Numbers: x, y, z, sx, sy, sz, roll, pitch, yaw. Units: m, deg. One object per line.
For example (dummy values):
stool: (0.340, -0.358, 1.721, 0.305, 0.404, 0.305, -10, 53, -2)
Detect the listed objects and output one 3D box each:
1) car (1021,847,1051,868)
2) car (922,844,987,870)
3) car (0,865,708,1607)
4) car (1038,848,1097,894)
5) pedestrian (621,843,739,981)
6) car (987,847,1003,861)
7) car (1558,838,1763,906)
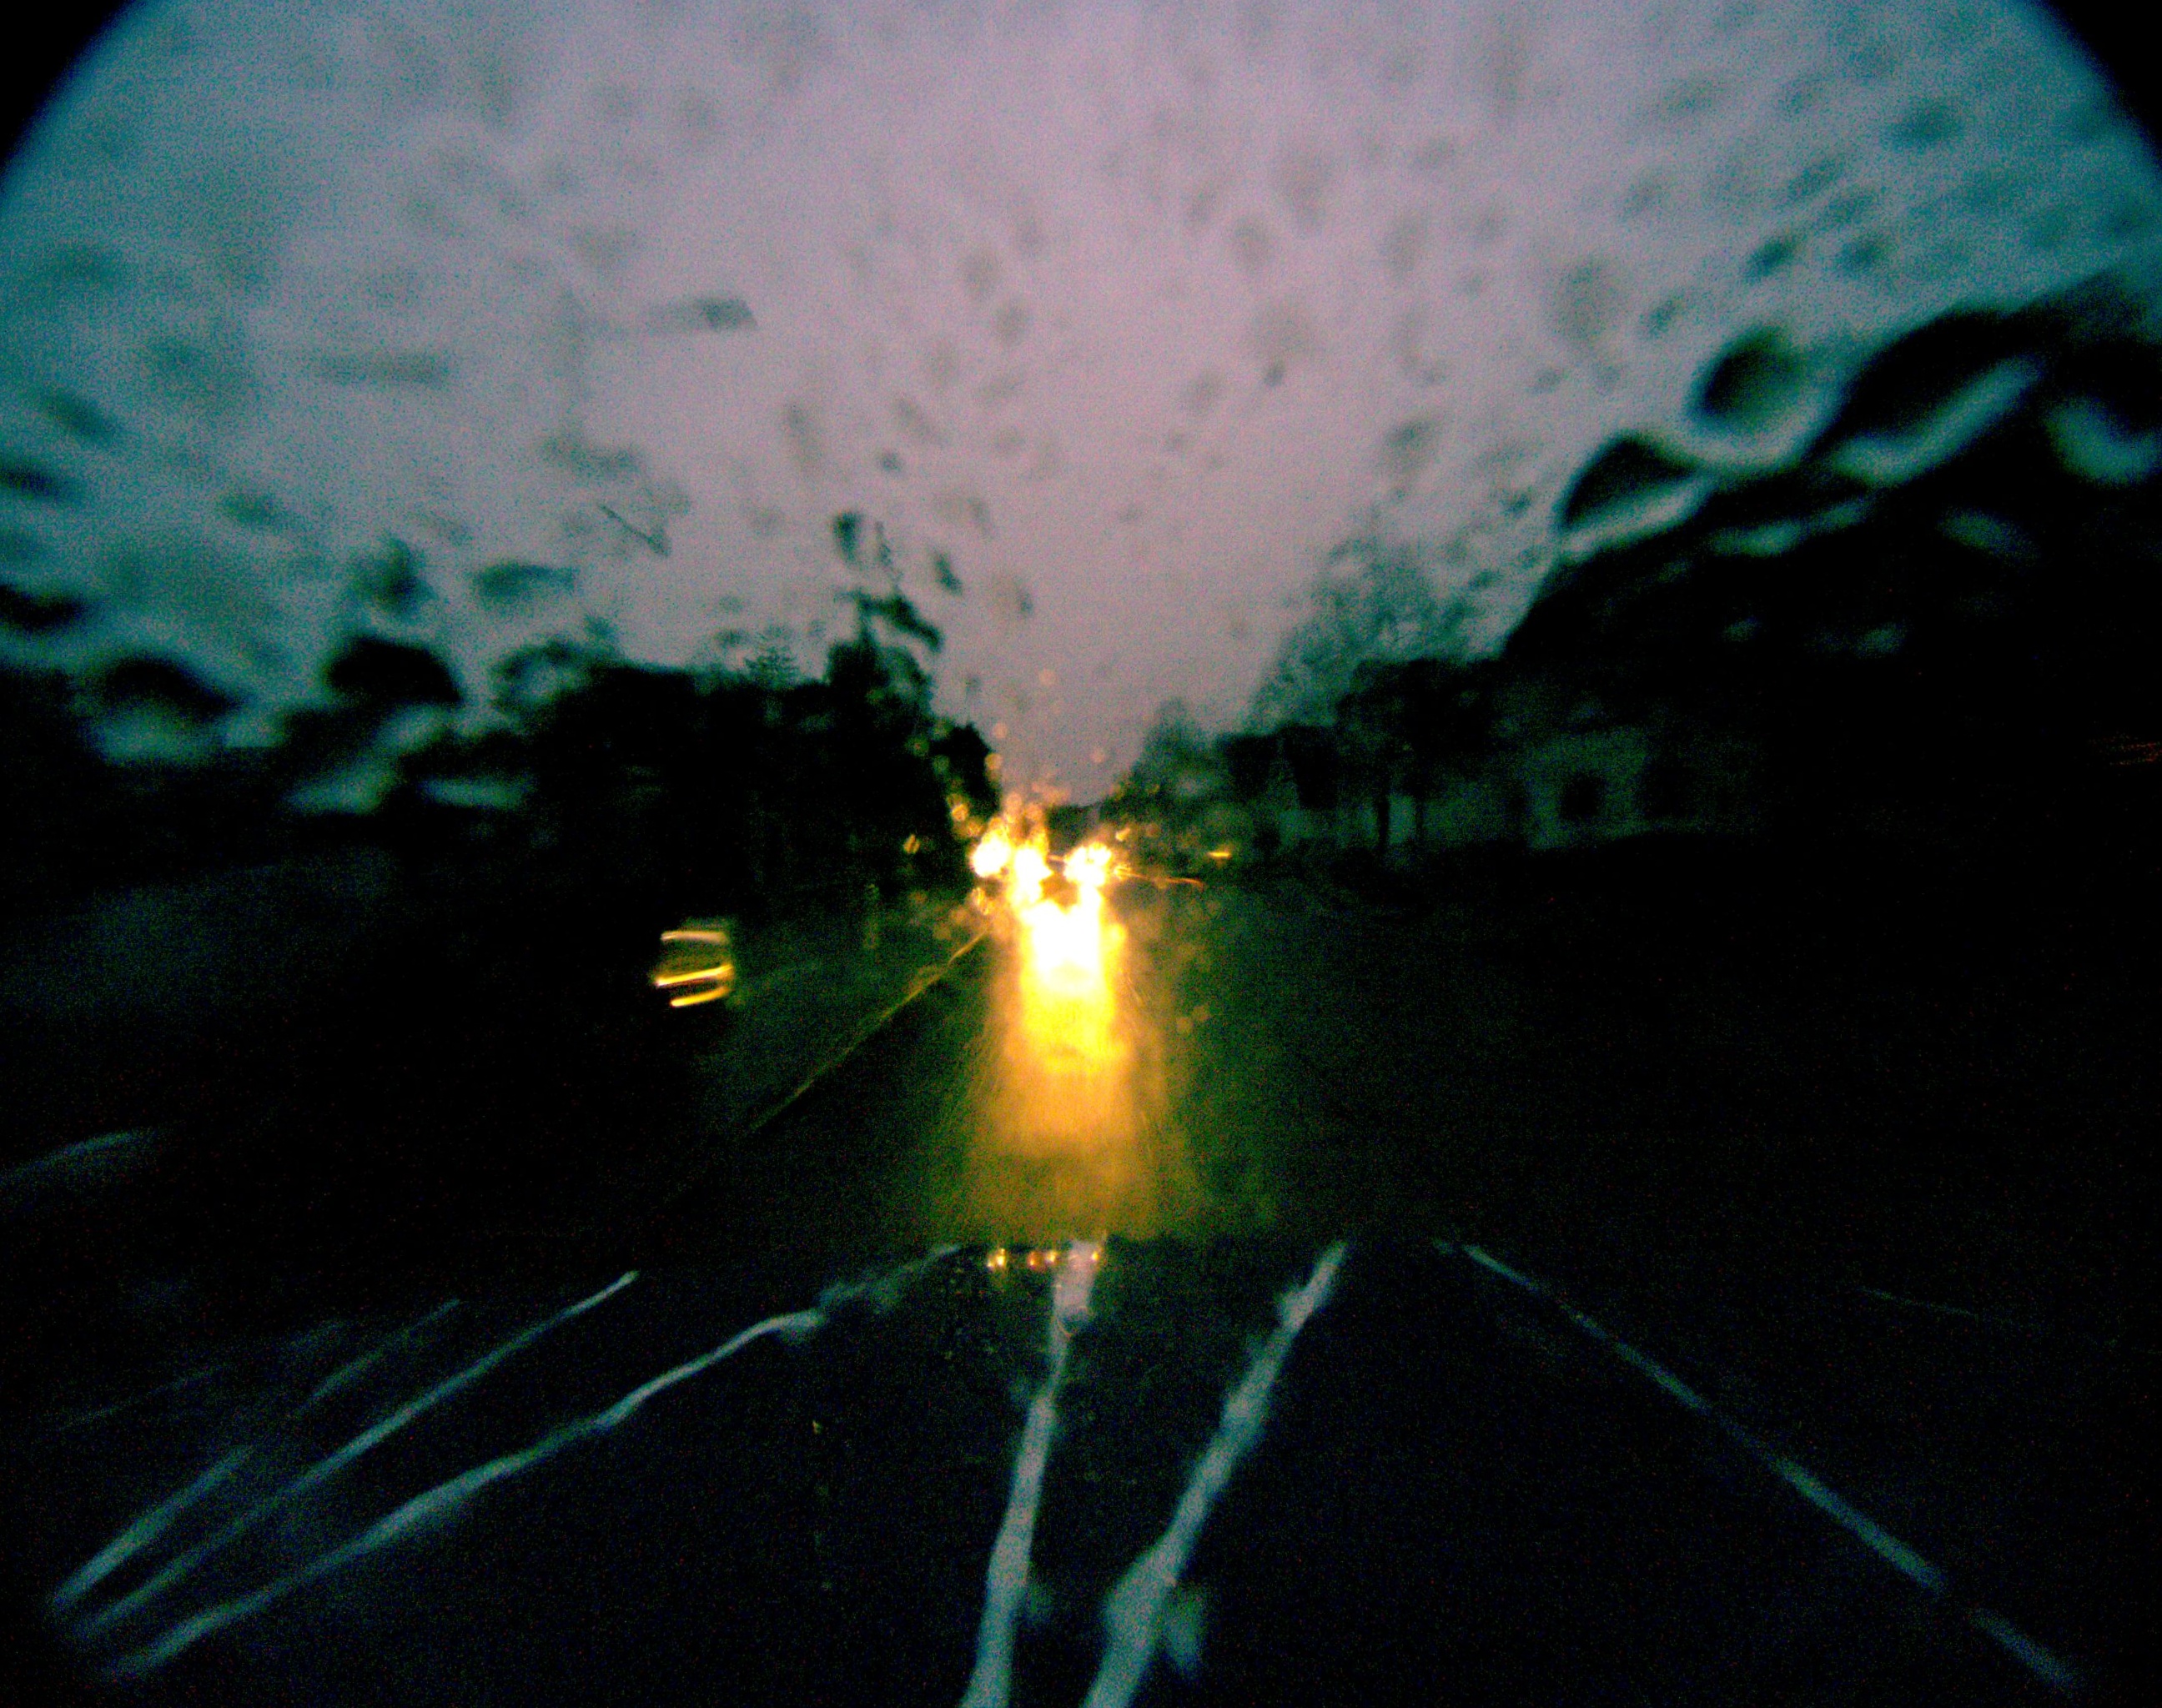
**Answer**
car: (-3.780, 0.299, 63.704, 2.000, 1.660, 3.996, -2, 1, -10)
car: (-8.787, 0.226, 52.825, 4.338, 1.722, 1.998, 1, 0, -11)
car: (-3.156, 0.864, 2.949, 1.653, 1.531, 3.390, 2, 0, 1)
car: (-0.434, 0.584, 28.367, 1.998, 1.575, 4.000, -1, 0, 1)
pedestrian: (-5.294, 0.726, 10.111, 0.990, 1.732, 1.056, 1, 1, 1)
car: (-10.696, 0.034, 94.156, 1.777, 1.609, 3.868, -2, 1, -9)
car: (13.250, 0.328, 17.737, 1.786, 1.358, 3.999, -2, 1, 1)
